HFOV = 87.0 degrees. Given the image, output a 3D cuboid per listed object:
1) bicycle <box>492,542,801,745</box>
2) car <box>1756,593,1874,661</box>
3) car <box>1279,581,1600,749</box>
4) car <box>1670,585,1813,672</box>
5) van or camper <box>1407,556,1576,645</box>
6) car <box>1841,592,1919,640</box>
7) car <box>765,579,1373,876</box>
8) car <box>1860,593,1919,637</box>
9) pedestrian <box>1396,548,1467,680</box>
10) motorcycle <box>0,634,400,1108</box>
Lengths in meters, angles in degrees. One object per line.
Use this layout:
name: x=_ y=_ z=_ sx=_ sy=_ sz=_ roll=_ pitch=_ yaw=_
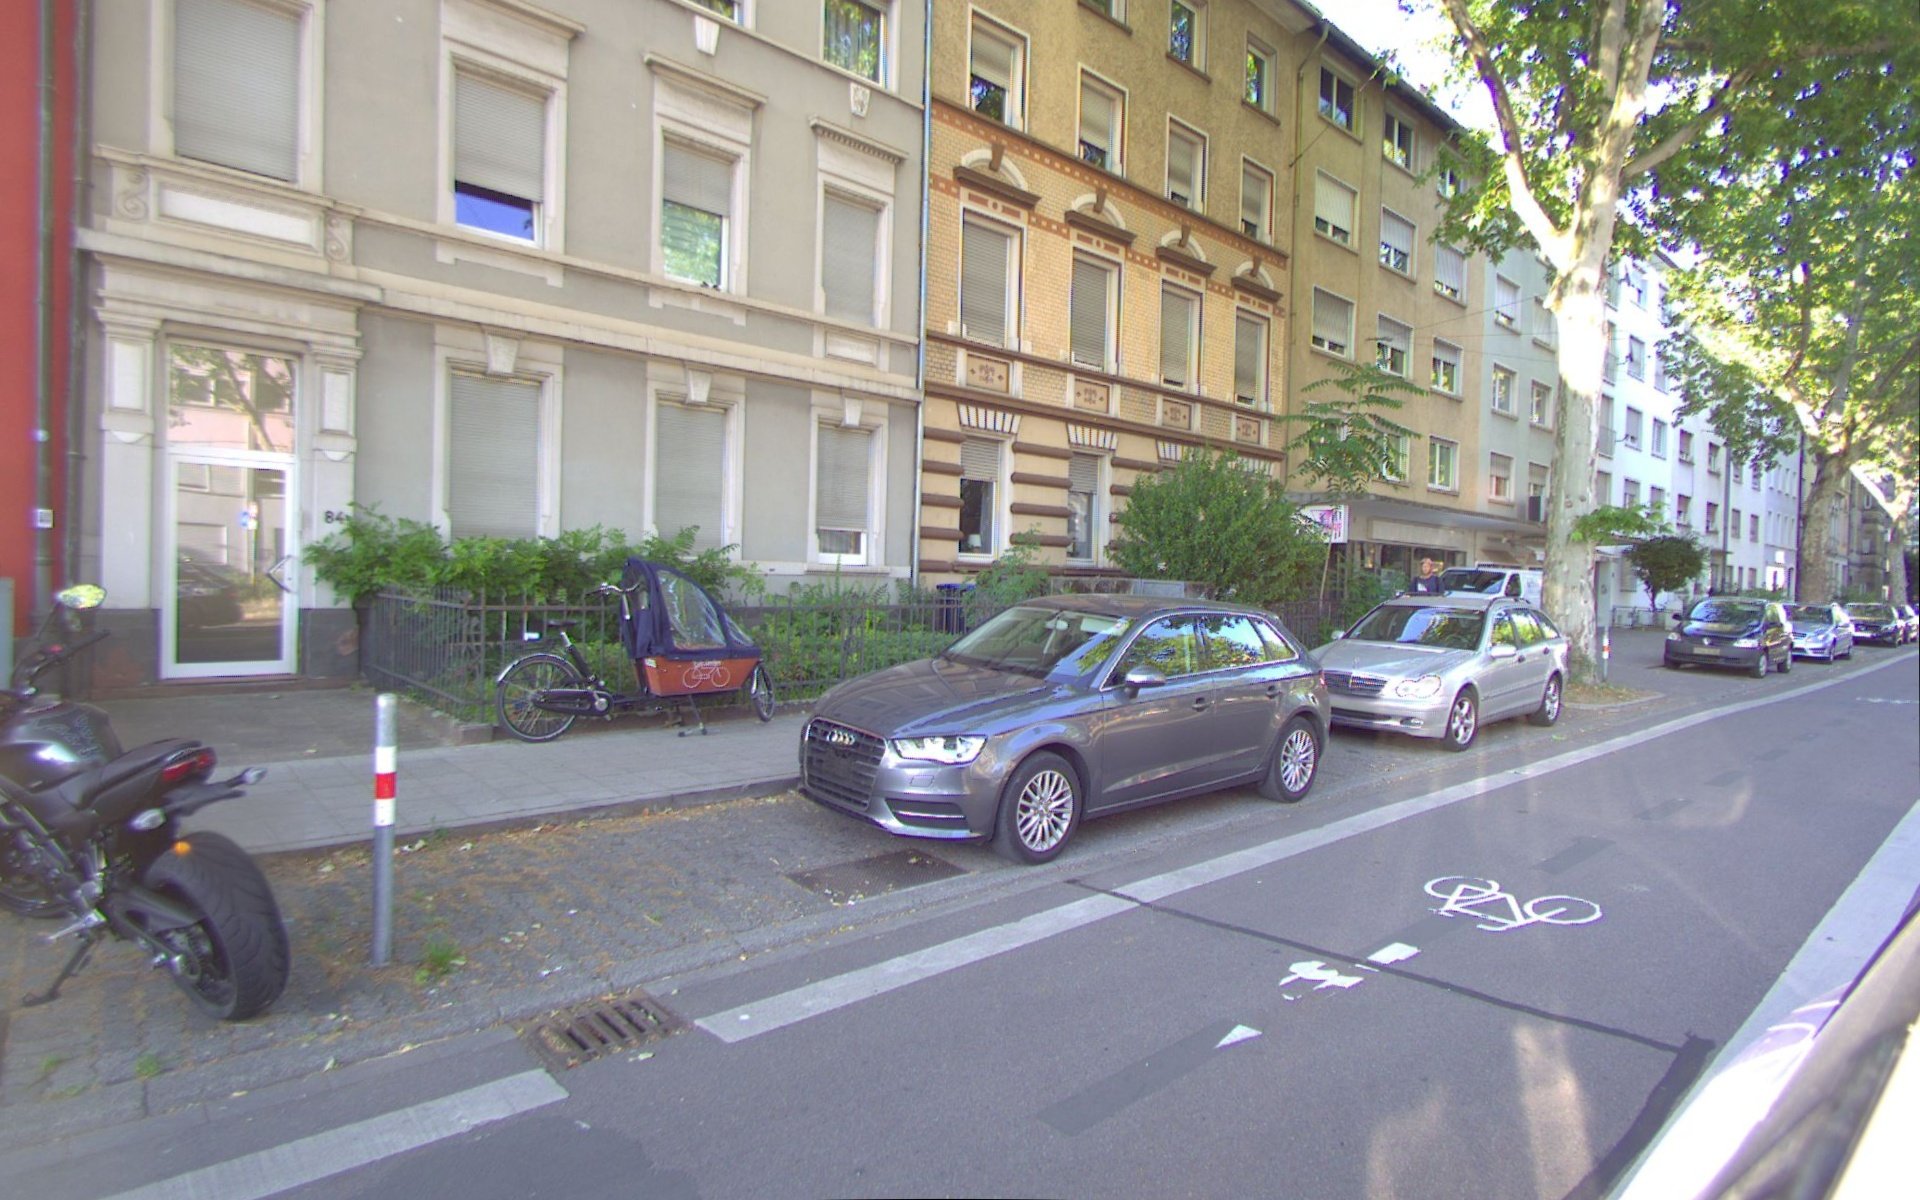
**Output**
bicycle: x=-2.470 y=0.300 z=8.230 sx=2.354 sy=1.445 sz=0.608 roll=0 pitch=0 yaw=-41
car: x=21.989 y=0.627 z=25.956 sx=4.695 sy=1.561 sz=1.697 roll=0 pitch=2 yaw=-42
car: x=5.453 y=0.565 z=11.205 sx=4.494 sy=1.469 sz=1.676 roll=0 pitch=2 yaw=-43
car: x=16.236 y=0.525 z=20.961 sx=3.932 sy=1.564 sz=1.656 roll=0 pitch=2 yaw=-42
van or camper: x=13.169 y=-0.020 z=24.914 sx=5.299 sy=1.946 sz=1.945 roll=0 pitch=2 yaw=-42
car: x=31.657 y=0.506 z=34.608 sx=4.289 sy=1.432 sz=1.712 roll=0 pitch=4 yaw=-42
car: x=0.966 y=0.608 z=6.977 sx=4.245 sy=1.414 sz=1.714 roll=0 pitch=2 yaw=-41
car: x=35.183 y=0.517 z=37.877 sx=4.289 sy=1.432 sz=1.712 roll=0 pitch=4 yaw=-42
pedestrian: x=7.561 y=0.207 z=16.231 sx=0.995 sy=2.038 sz=0.683 roll=0 pitch=1 yaw=-45
motorcycle: x=-3.031 y=0.760 z=3.569 sx=2.193 sy=1.076 sz=0.760 roll=4 pitch=2 yaw=28
